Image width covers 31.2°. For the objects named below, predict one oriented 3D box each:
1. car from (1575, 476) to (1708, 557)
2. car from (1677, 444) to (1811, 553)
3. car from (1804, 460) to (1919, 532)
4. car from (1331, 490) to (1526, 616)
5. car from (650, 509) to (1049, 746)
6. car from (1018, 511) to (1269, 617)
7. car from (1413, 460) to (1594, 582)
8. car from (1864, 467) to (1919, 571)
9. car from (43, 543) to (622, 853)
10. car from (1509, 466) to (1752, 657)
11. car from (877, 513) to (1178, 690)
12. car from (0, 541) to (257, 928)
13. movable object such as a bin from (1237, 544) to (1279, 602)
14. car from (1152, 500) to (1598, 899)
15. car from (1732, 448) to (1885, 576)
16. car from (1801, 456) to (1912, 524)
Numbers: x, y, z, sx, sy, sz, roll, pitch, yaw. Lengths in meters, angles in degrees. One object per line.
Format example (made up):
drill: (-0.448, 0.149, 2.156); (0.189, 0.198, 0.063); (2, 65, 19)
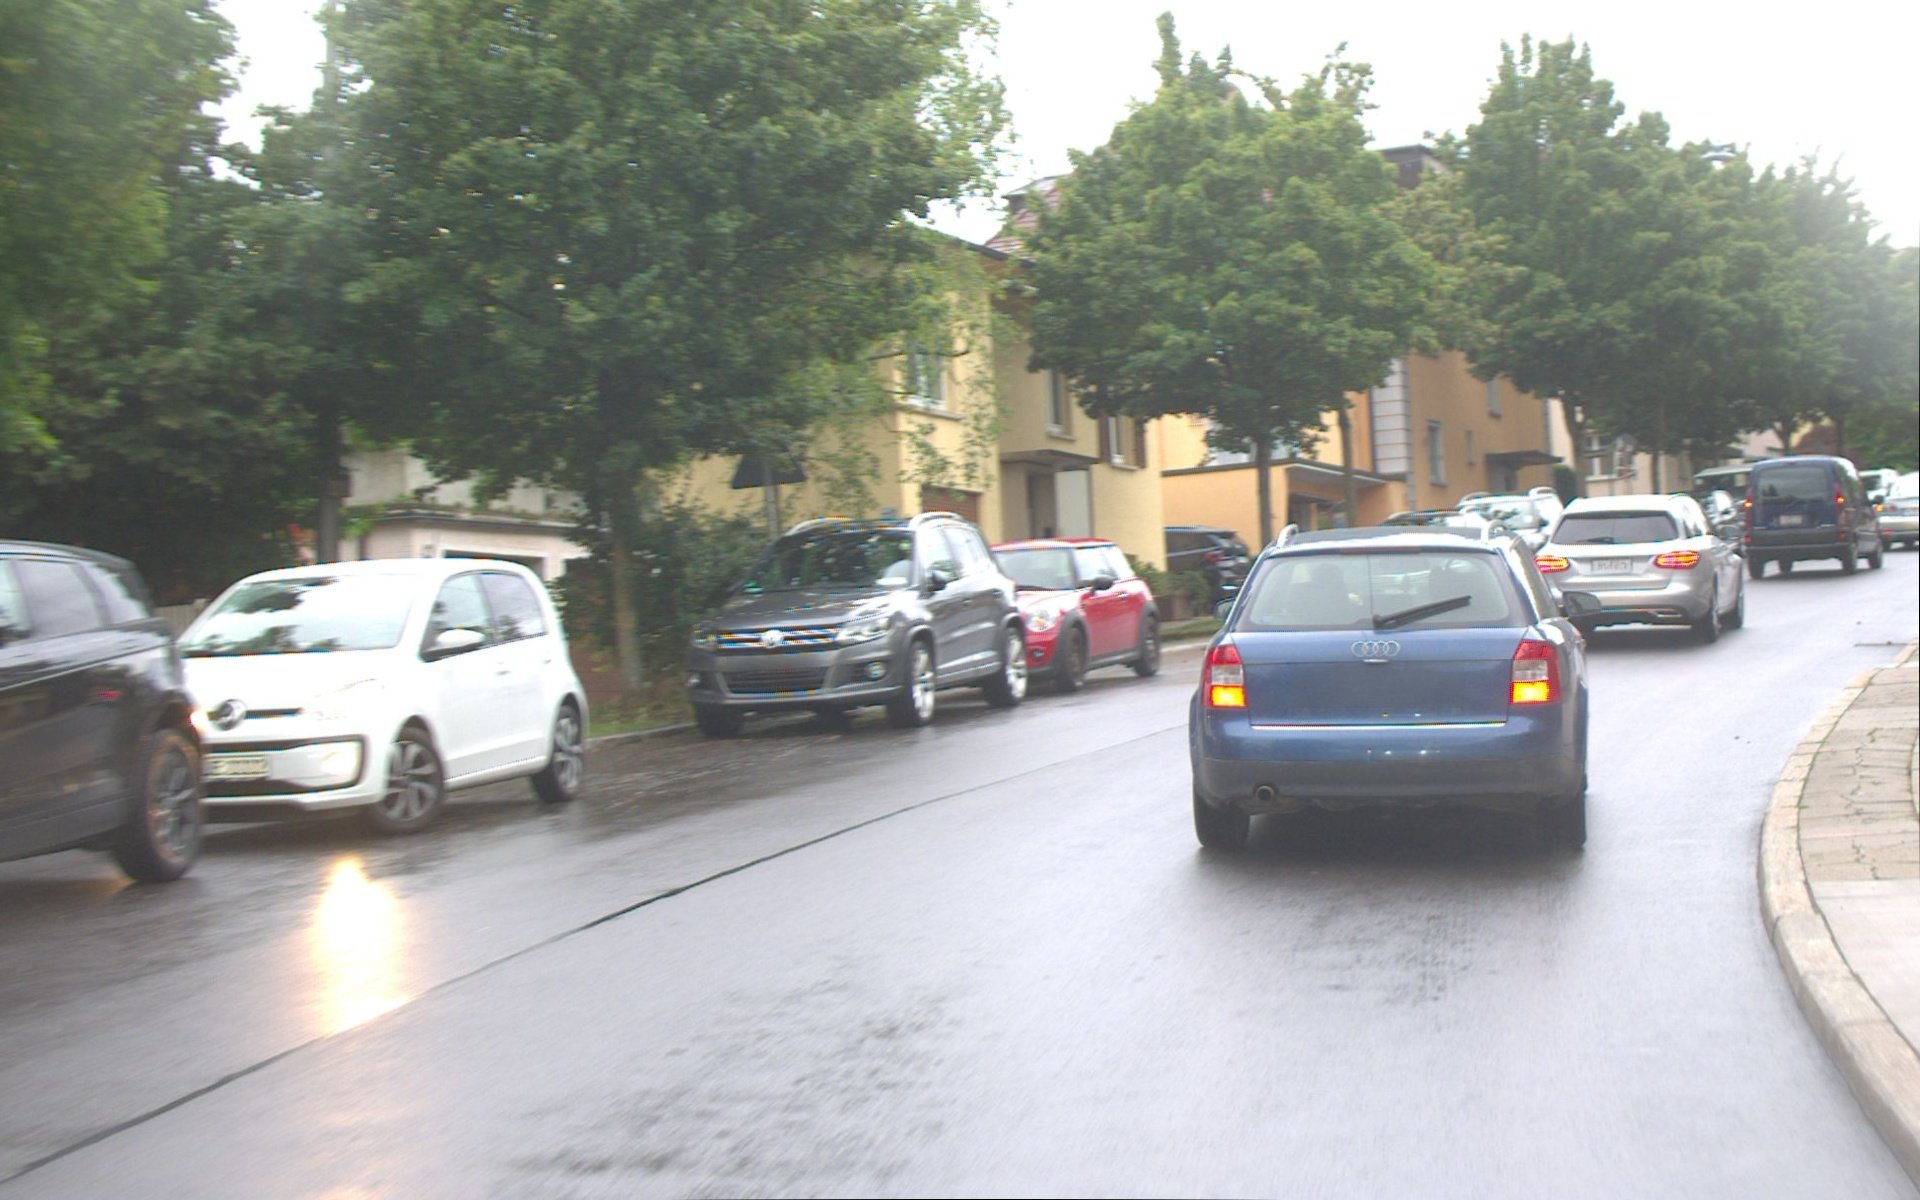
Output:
car: (14.084, -1.741, 70.921); (1.770, 1.431, 4.342); (-5, 1, 22)
car: (17.208, -2.255, 75.316); (1.793, 2.042, 4.776); (-7, 1, 24)
car: (22.926, -2.653, 87.224); (1.770, 1.621, 4.683); (-5, 0, 28)
car: (6.862, -0.720, 49.968); (1.770, 1.530, 4.601); (-5, 1, 20)
car: (-0.789, 0.159, 27.879); (1.802, 1.663, 4.423); (-4, 1, 17)
car: (3.319, -0.650, 62.145); (4.057, 1.640, 1.861); (-3, 1, 23)
car: (8.765, -1.292, 55.149); (1.770, 1.629, 4.105); (-7, 0, 23)
car: (18.499, -1.593, 65.861); (1.735, 1.762, 4.231); (-1, 4, 22)
car: (-3.367, 0.471, 19.279); (1.734, 1.461, 3.998); (-2, 1, 12)
car: (6.860, -0.438, 34.841); (1.977, 1.629, 4.233); (-1, 4, 17)
car: (0.715, -0.025, 32.749); (1.683, 1.466, 3.862); (-4, 1, 19)
car: (-4.620, 0.557, 14.261); (1.734, 1.540, 4.208); (-2, 1, 12)
movable object such as a bin: (5.538, -0.502, 63.868); (0.587, 1.020, 0.585); (-2, 2, 20)
car: (2.075, 0.367, 16.201); (1.734, 1.461, 3.999); (-2, 4, 11)
car: (13.289, -1.405, 53.686); (1.735, 1.762, 4.231); (-1, 4, 22)
car: (30.798, -3.774, 118.094); (3.214, 1.734, 1.477); (-10, -1, 28)
